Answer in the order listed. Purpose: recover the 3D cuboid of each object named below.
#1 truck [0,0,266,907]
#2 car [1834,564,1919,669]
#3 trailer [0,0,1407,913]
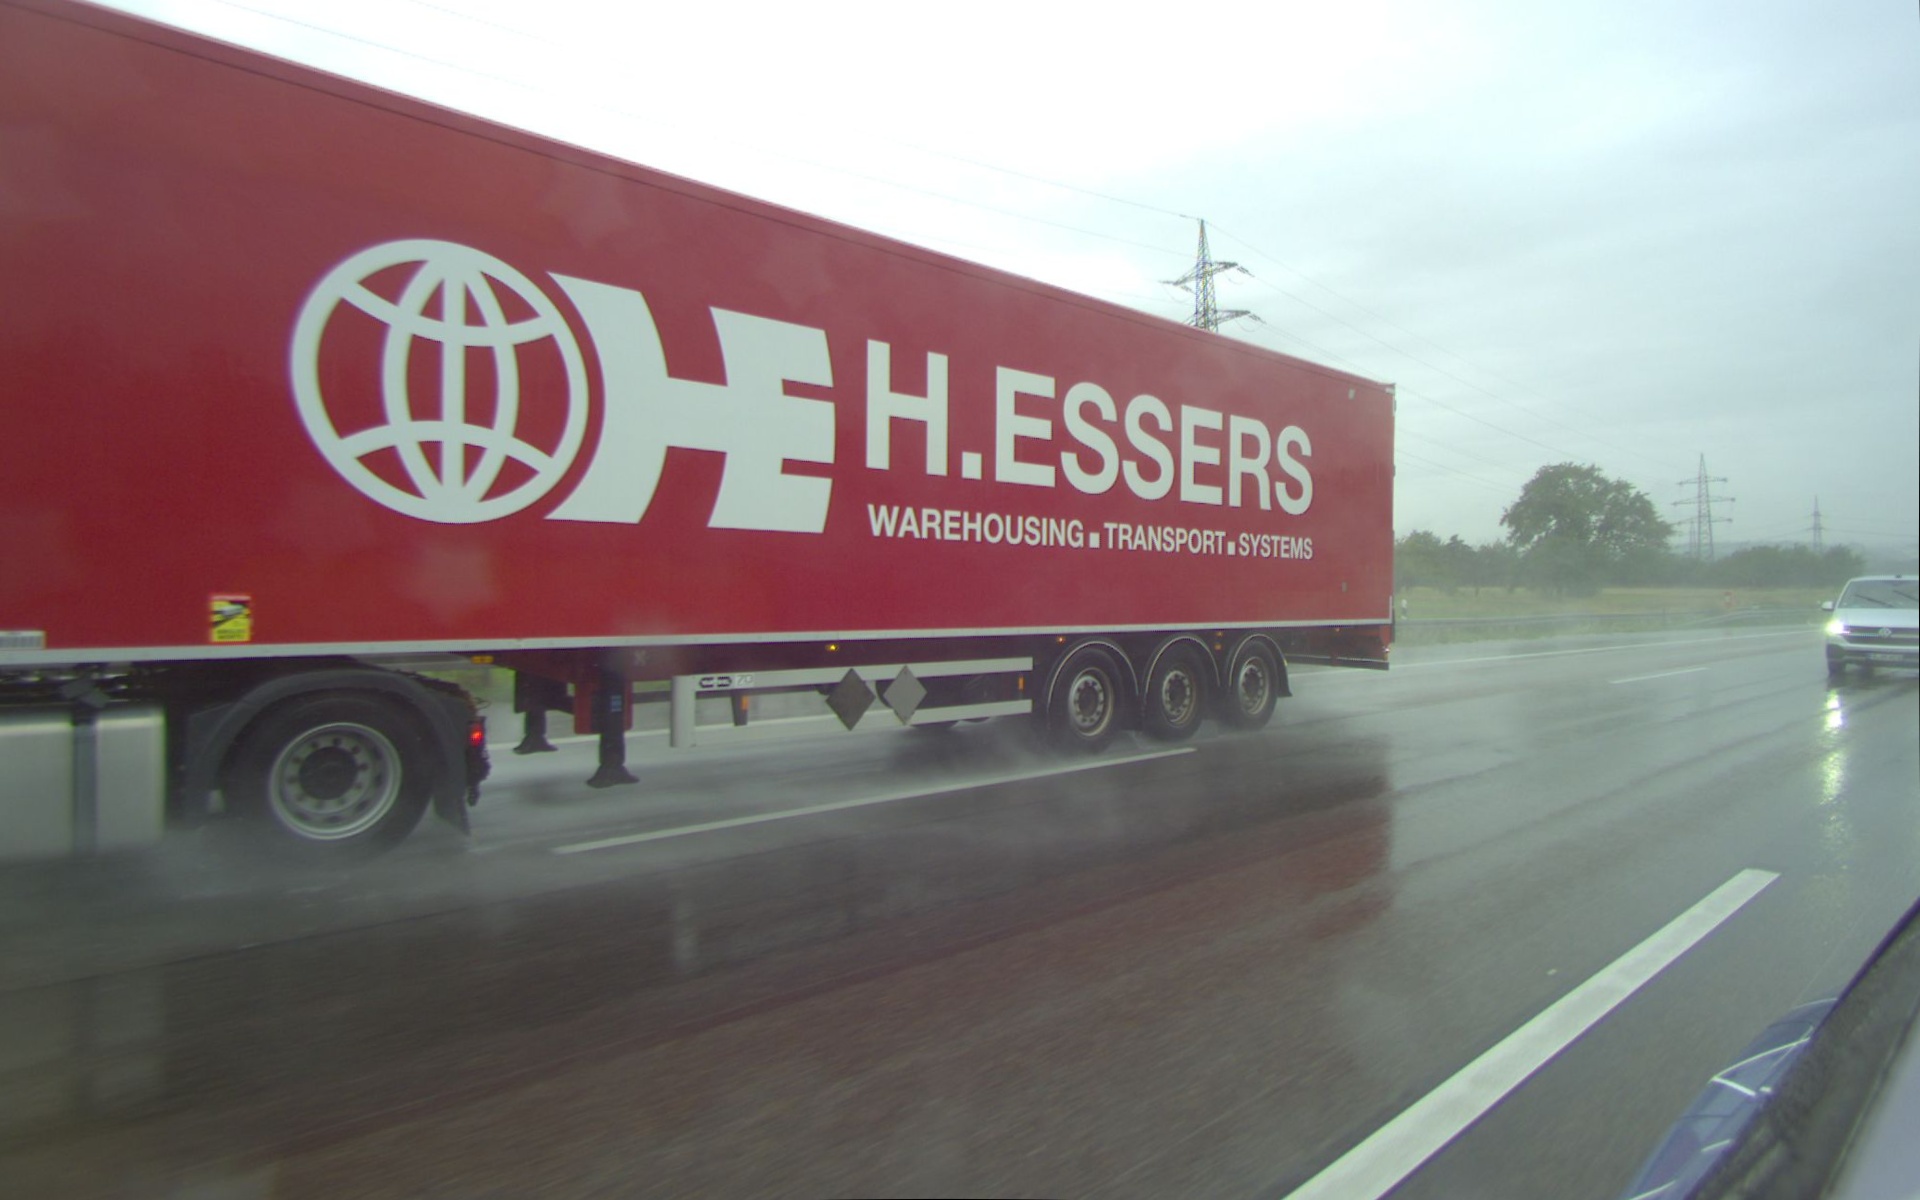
[{"bbox_3d":[-6.172,-0.728,4.081,5.337,4.005,2.625,0,0,-41],"label":"truck"},{"bbox_3d":[19.216,0.308,20.103,4.918,1.908,1.891,0,-2,-39],"label":"car"},{"bbox_3d":[-0.431,-0.739,9.031,13.391,4.005,2.625,0,0,-41],"label":"trailer"}]
